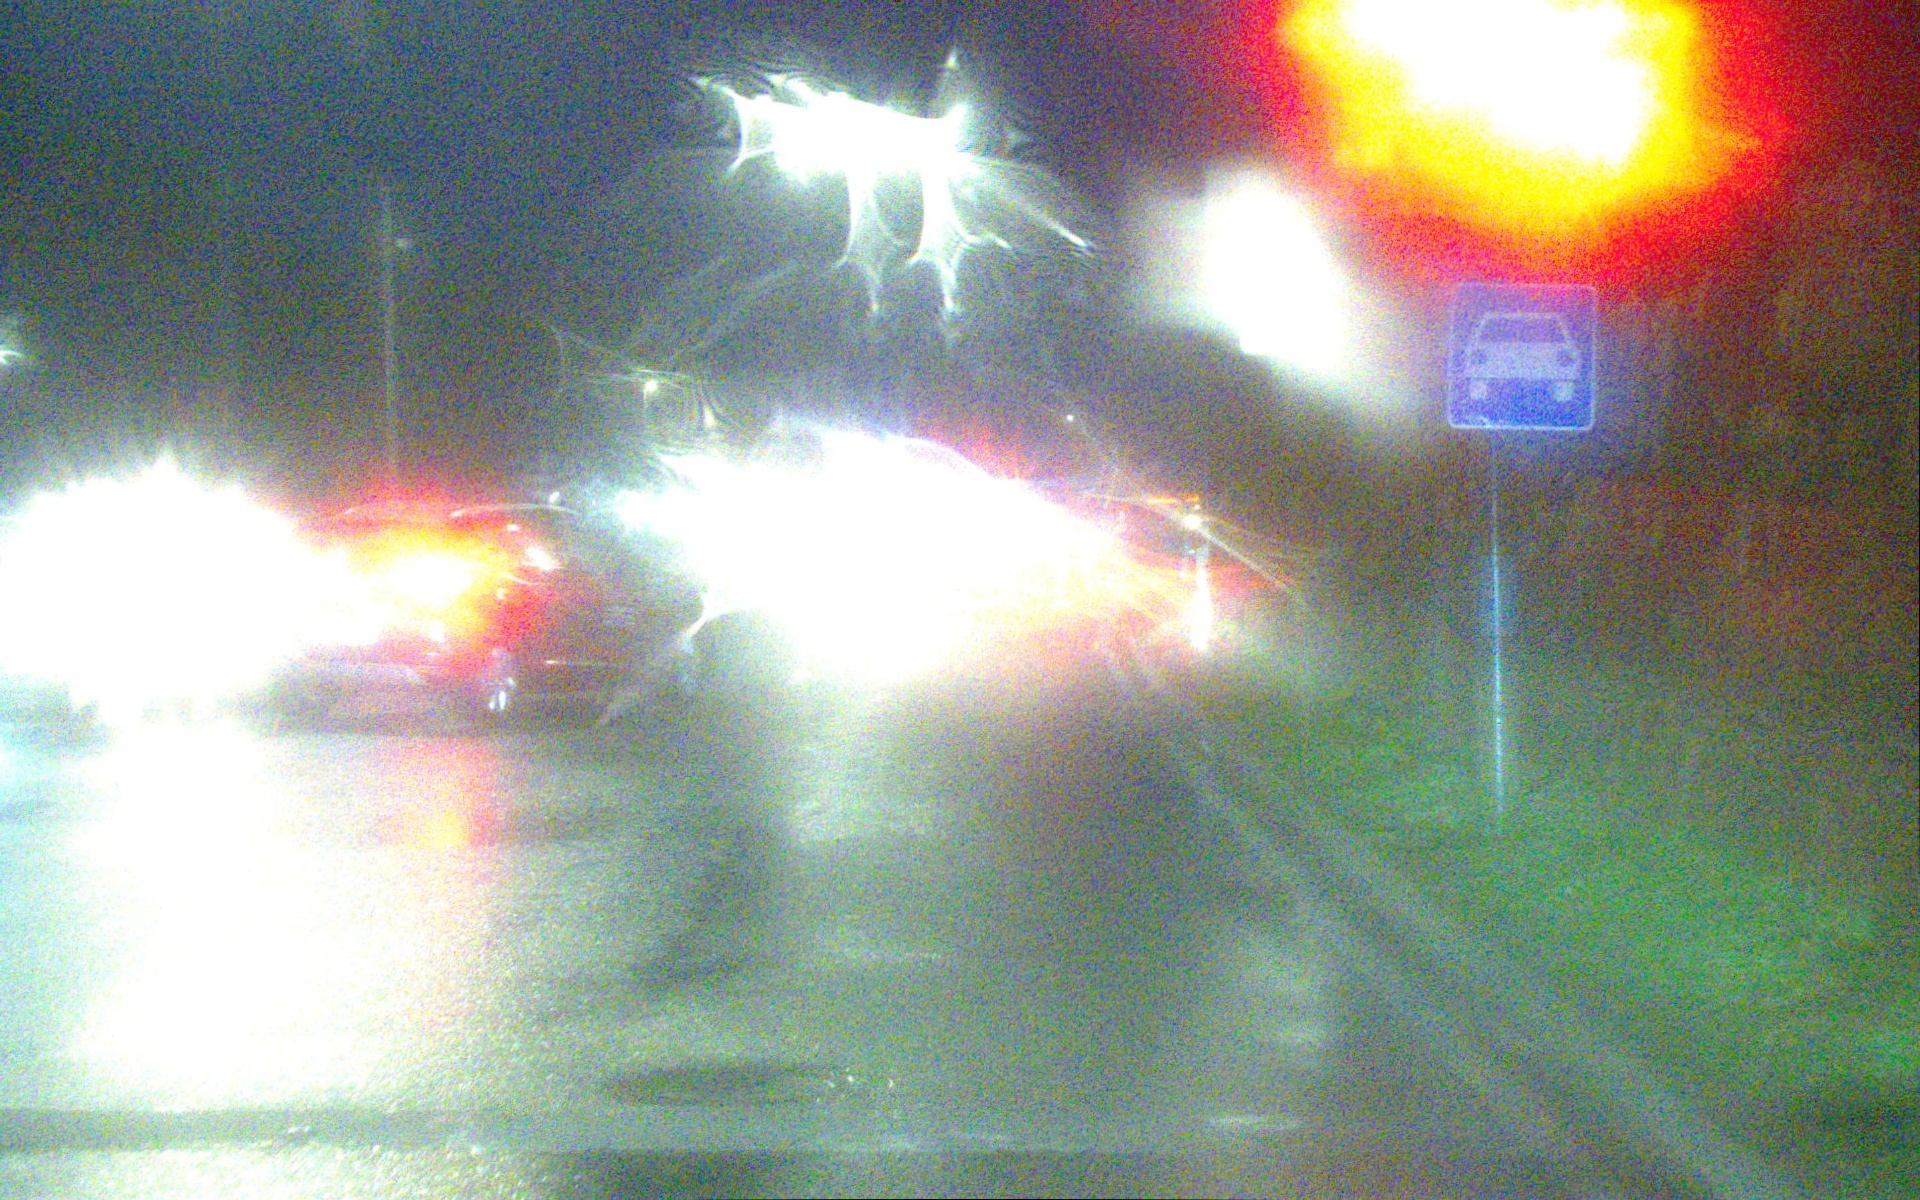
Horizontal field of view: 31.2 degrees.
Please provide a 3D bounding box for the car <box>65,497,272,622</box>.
[{"bbox_3d":[-10.045,-0.506,43.881,1.585,1.520,3.651,0,0,4],"label":"car"}]

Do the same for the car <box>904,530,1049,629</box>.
[{"bbox_3d":[0.237,-0.315,51.932,2.103,1.434,4.000,0,0,0],"label":"car"}]

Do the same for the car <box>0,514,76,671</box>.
[{"bbox_3d":[-10.441,-0.088,34.822,1.699,1.566,4.712,0,1,1],"label":"car"}]

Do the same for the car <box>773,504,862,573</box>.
[{"bbox_3d":[-3.580,-1.544,87.062,1.718,1.697,4.142,0,1,5],"label":"car"}]

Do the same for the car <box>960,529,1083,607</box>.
[{"bbox_3d":[1.064,-0.566,61.278,2.107,1.335,4.294,0,0,0],"label":"car"}]

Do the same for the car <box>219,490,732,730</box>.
[{"bbox_3d":[-3.439,0.053,25.206,1.996,1.605,4.098,0,0,21],"label":"car"}]
